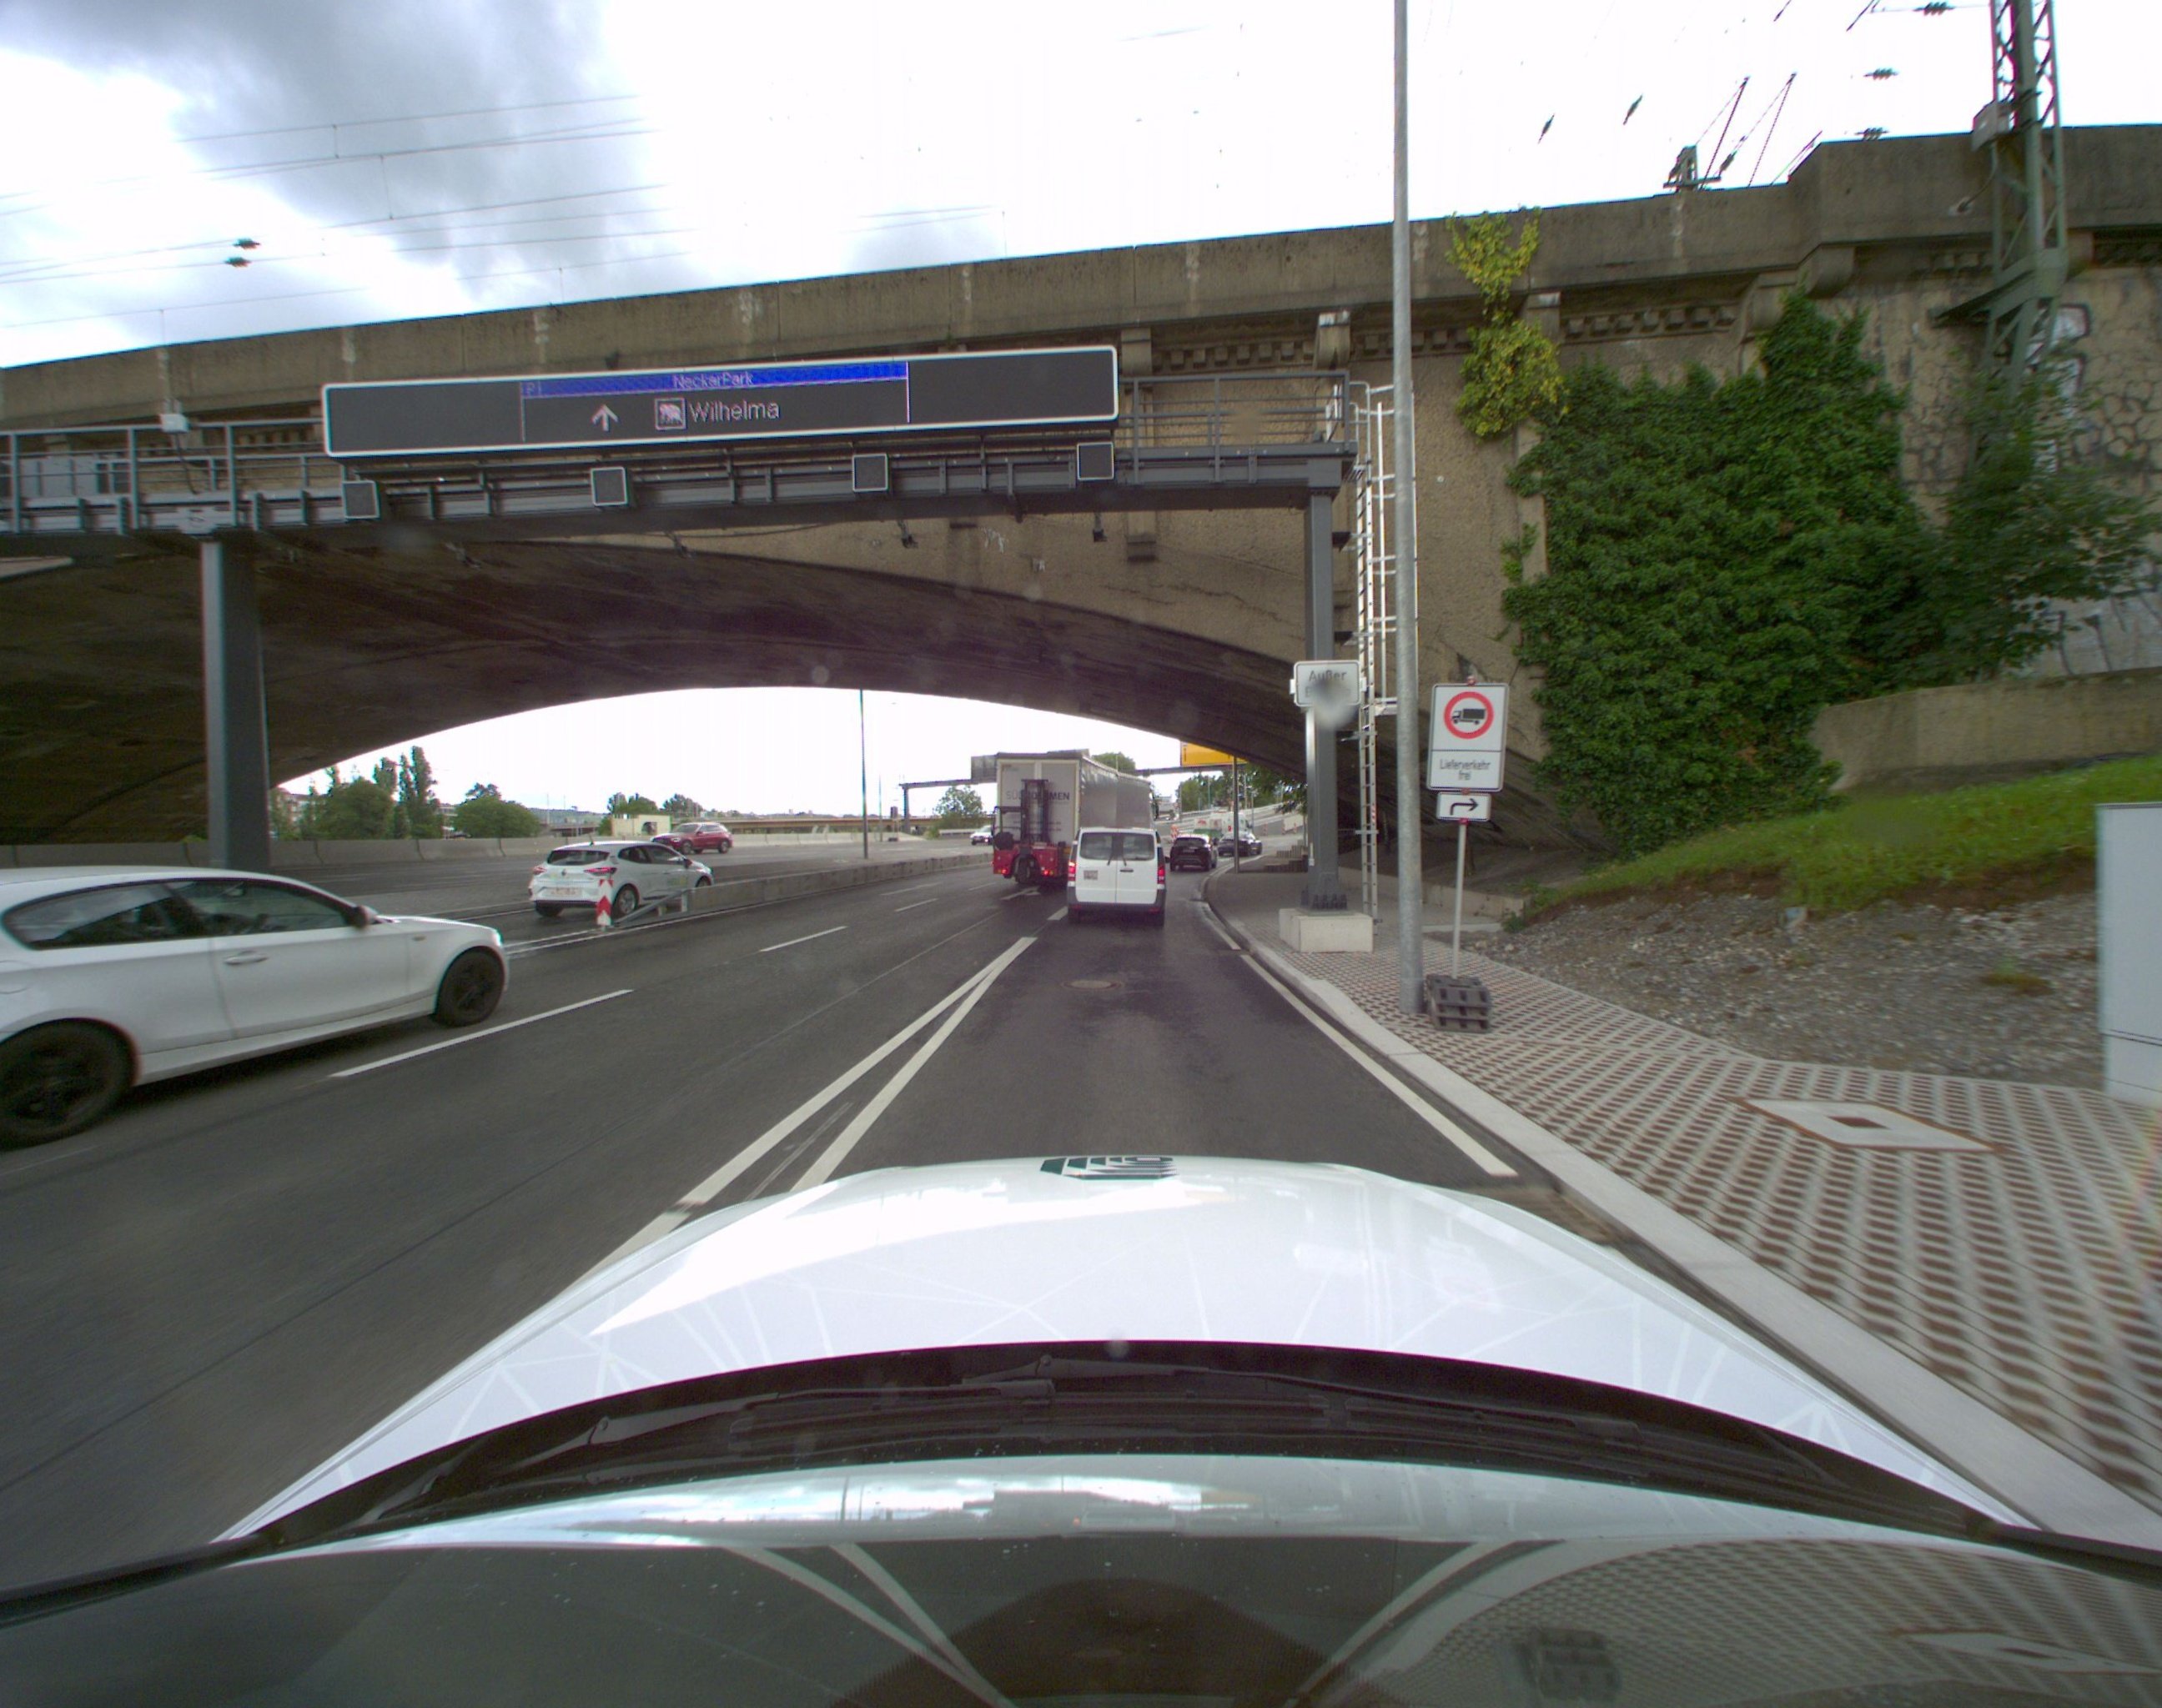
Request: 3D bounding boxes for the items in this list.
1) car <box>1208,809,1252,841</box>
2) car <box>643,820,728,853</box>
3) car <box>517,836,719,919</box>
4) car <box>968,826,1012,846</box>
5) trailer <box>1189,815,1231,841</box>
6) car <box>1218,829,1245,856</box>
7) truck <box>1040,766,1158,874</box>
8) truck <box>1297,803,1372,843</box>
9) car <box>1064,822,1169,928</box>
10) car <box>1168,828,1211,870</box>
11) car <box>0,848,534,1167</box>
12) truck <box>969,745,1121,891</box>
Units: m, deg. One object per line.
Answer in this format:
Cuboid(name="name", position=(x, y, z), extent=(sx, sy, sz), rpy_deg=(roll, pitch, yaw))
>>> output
Cuboid(name="car", position=(12.612, -2.455, 68.576), extent=(1.975, 2.541, 5.207), rpy_deg=(2, 3, 30))
Cuboid(name="car", position=(-20.408, -0.949, 42.250), extent=(1.685, 1.616, 4.014), rpy_deg=(1, 2, 16))
Cuboid(name="car", position=(-9.231, 0.380, 16.666), extent=(1.568, 1.484, 4.003), rpy_deg=(1, 1, 5))
Cuboid(name="car", position=(-7.039, -1.443, 63.276), extent=(1.842, 1.486, 4.562), rpy_deg=(0, 2, 15))
Cuboid(name="trailer", position=(10.270, -2.093, 64.547), extent=(1.975, 1.957, 4.104), rpy_deg=(2, 3, 30))
Cuboid(name="car", position=(9.063, -0.735, 48.849), extent=(1.491, 1.468, 3.412), rpy_deg=(0, 3, 12))
Cuboid(name="truck", position=(1.178, -1.489, 37.256), extent=(2.966, 4.175, 11.284), rpy_deg=(1, 2, 14))
Cuboid(name="truck", position=(26.656, -3.207, 84.732), extent=(3.285, 3.808, 16.700), rpy_deg=(2, 2, 32))
Cuboid(name="car", position=(0.777, 0.365, 17.120), extent=(1.868, 1.891, 4.757), rpy_deg=(1, 0, 3))
Cuboid(name="car", position=(4.919, -0.268, 36.504), extent=(1.739, 1.624, 3.856), rpy_deg=(-2, 3, 10))
Cuboid(name="car", position=(-6.049, 0.765, 5.579), extent=(1.630, 1.432, 3.989), rpy_deg=(2, 3, 6))
Cuboid(name="truck", position=(-0.790, -1.141, 27.669), extent=(2.899, 4.016, 10.231), rpy_deg=(1, 2, 10))
